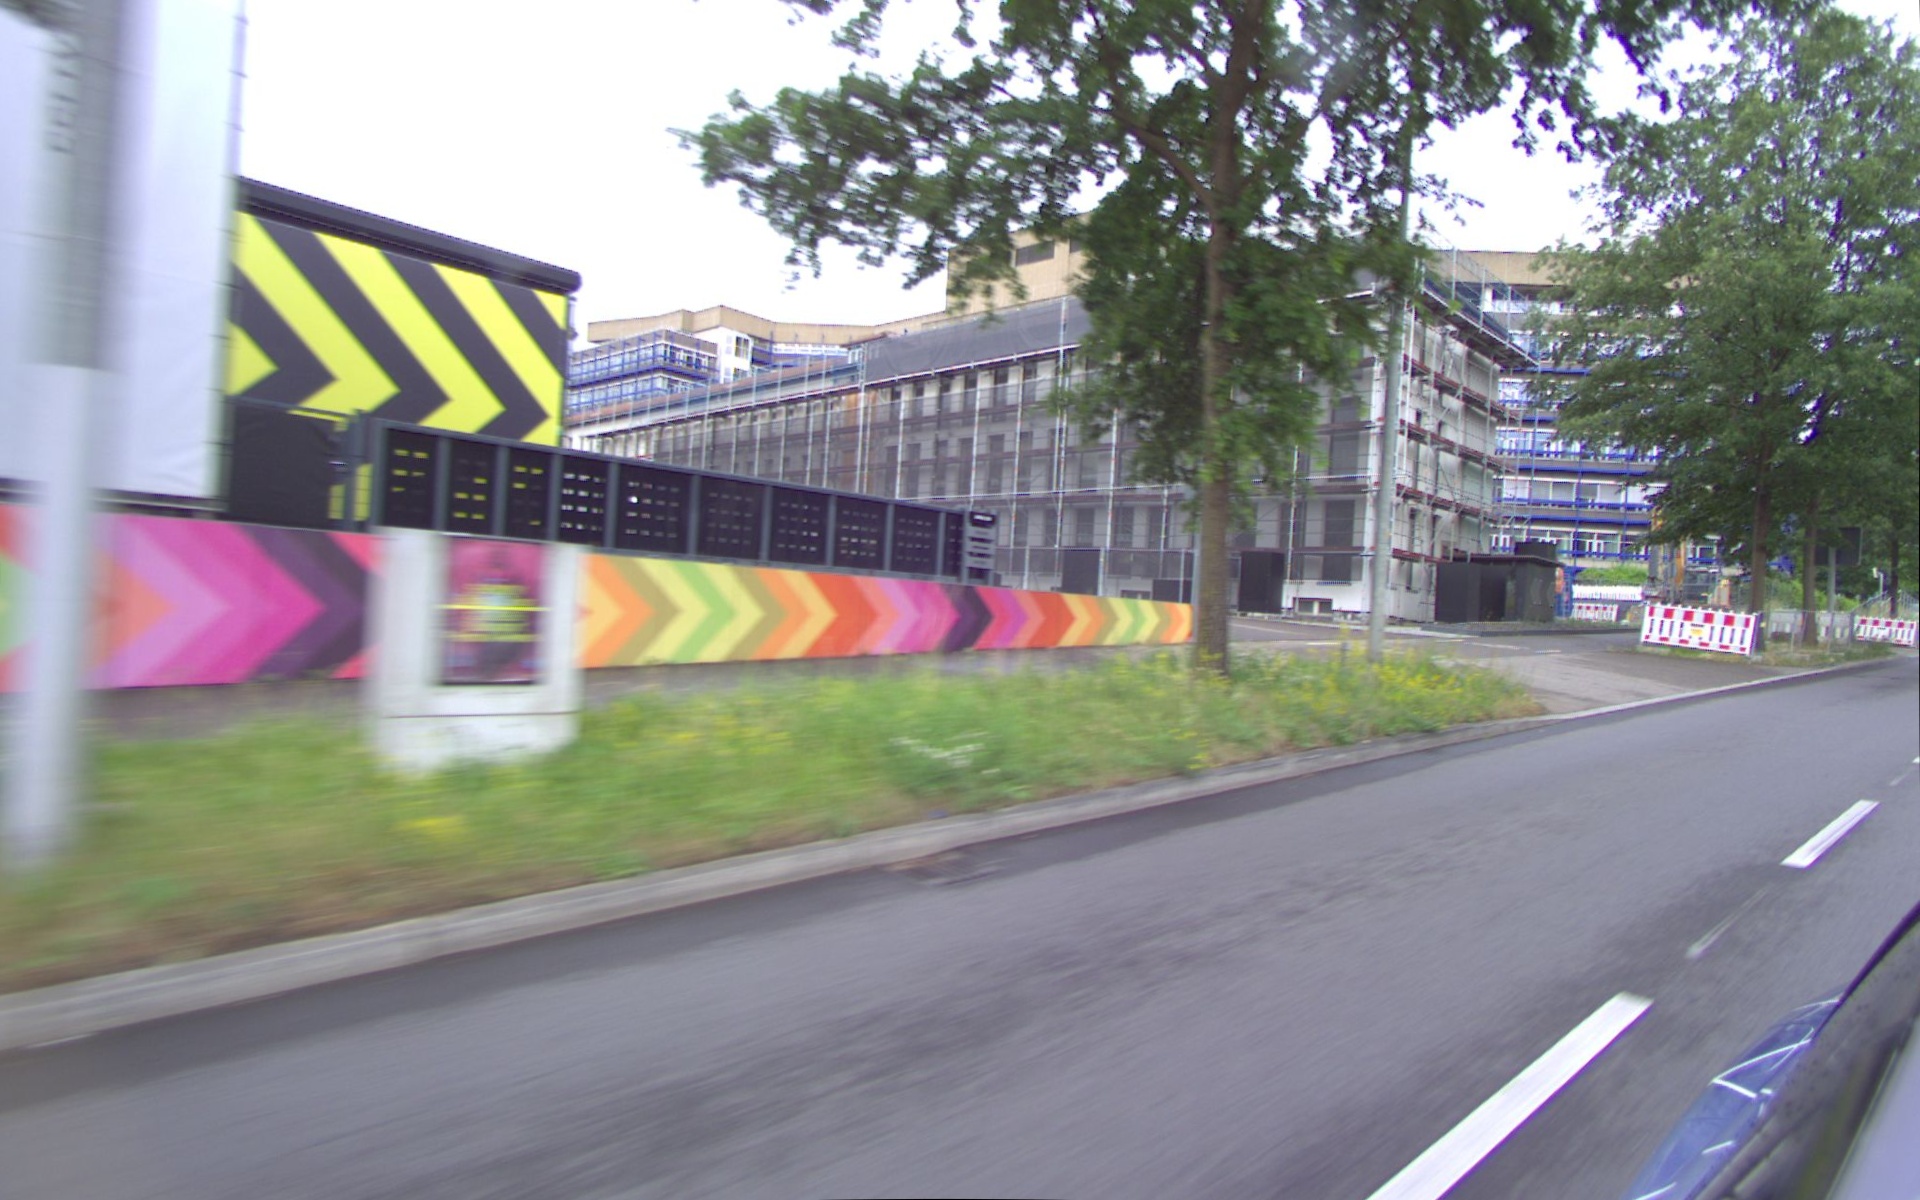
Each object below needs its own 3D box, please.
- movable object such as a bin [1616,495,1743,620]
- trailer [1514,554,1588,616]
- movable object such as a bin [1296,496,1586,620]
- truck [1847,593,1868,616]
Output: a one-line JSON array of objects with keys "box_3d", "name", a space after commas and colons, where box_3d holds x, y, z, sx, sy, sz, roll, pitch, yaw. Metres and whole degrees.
[{"box_3d": [36.187, -1.961, 50.759, 8.611, 5.756, 3.296, 0, 0, -41], "name": "movable object such as a bin"}, {"box_3d": [31.431, -0.778, 54.048, 2.617, 3.081, 7.436, 0, 0, 24], "name": "trailer"}, {"box_3d": [22.980, -2.072, 49.372, 3.725, 5.326, 12.158, 0, 2, -43], "name": "movable object such as a bin"}, {"box_3d": [104.486, 0.499, 117.810, 1.745, 2.549, 3.939, 0, 0, 42], "name": "truck"}]
